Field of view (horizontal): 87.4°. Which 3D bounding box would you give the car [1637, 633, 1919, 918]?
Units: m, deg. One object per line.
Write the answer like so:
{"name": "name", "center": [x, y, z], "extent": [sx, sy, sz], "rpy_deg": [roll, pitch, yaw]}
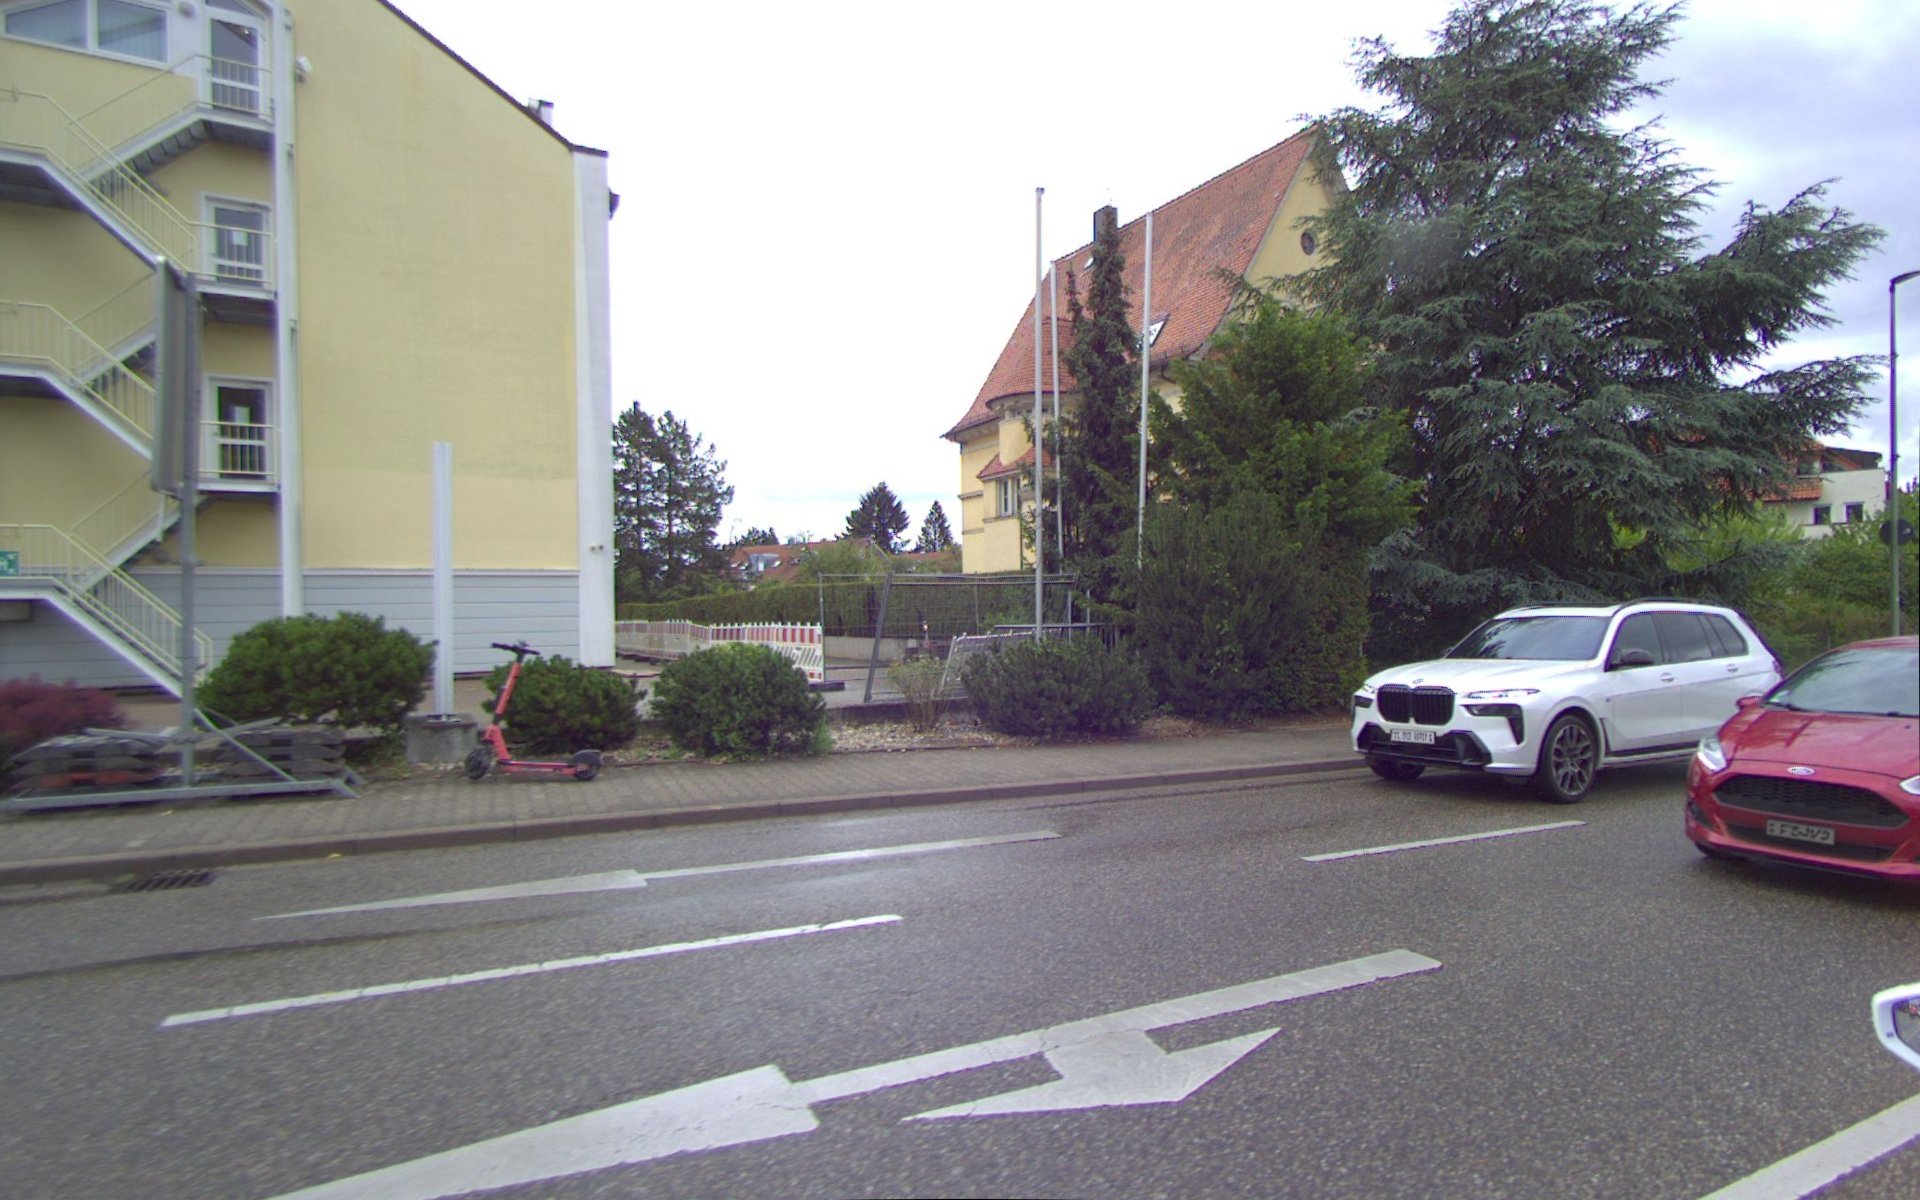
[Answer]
{"name": "car", "center": [6.299, 0.937, 6.407], "extent": [3.792, 1.438, 1.675], "rpy_deg": [1, -3, -28]}

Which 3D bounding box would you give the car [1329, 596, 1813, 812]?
{"name": "car", "center": [6.380, 0.947, 10.371], "extent": [5.078, 1.786, 1.910], "rpy_deg": [1, -3, -28]}
